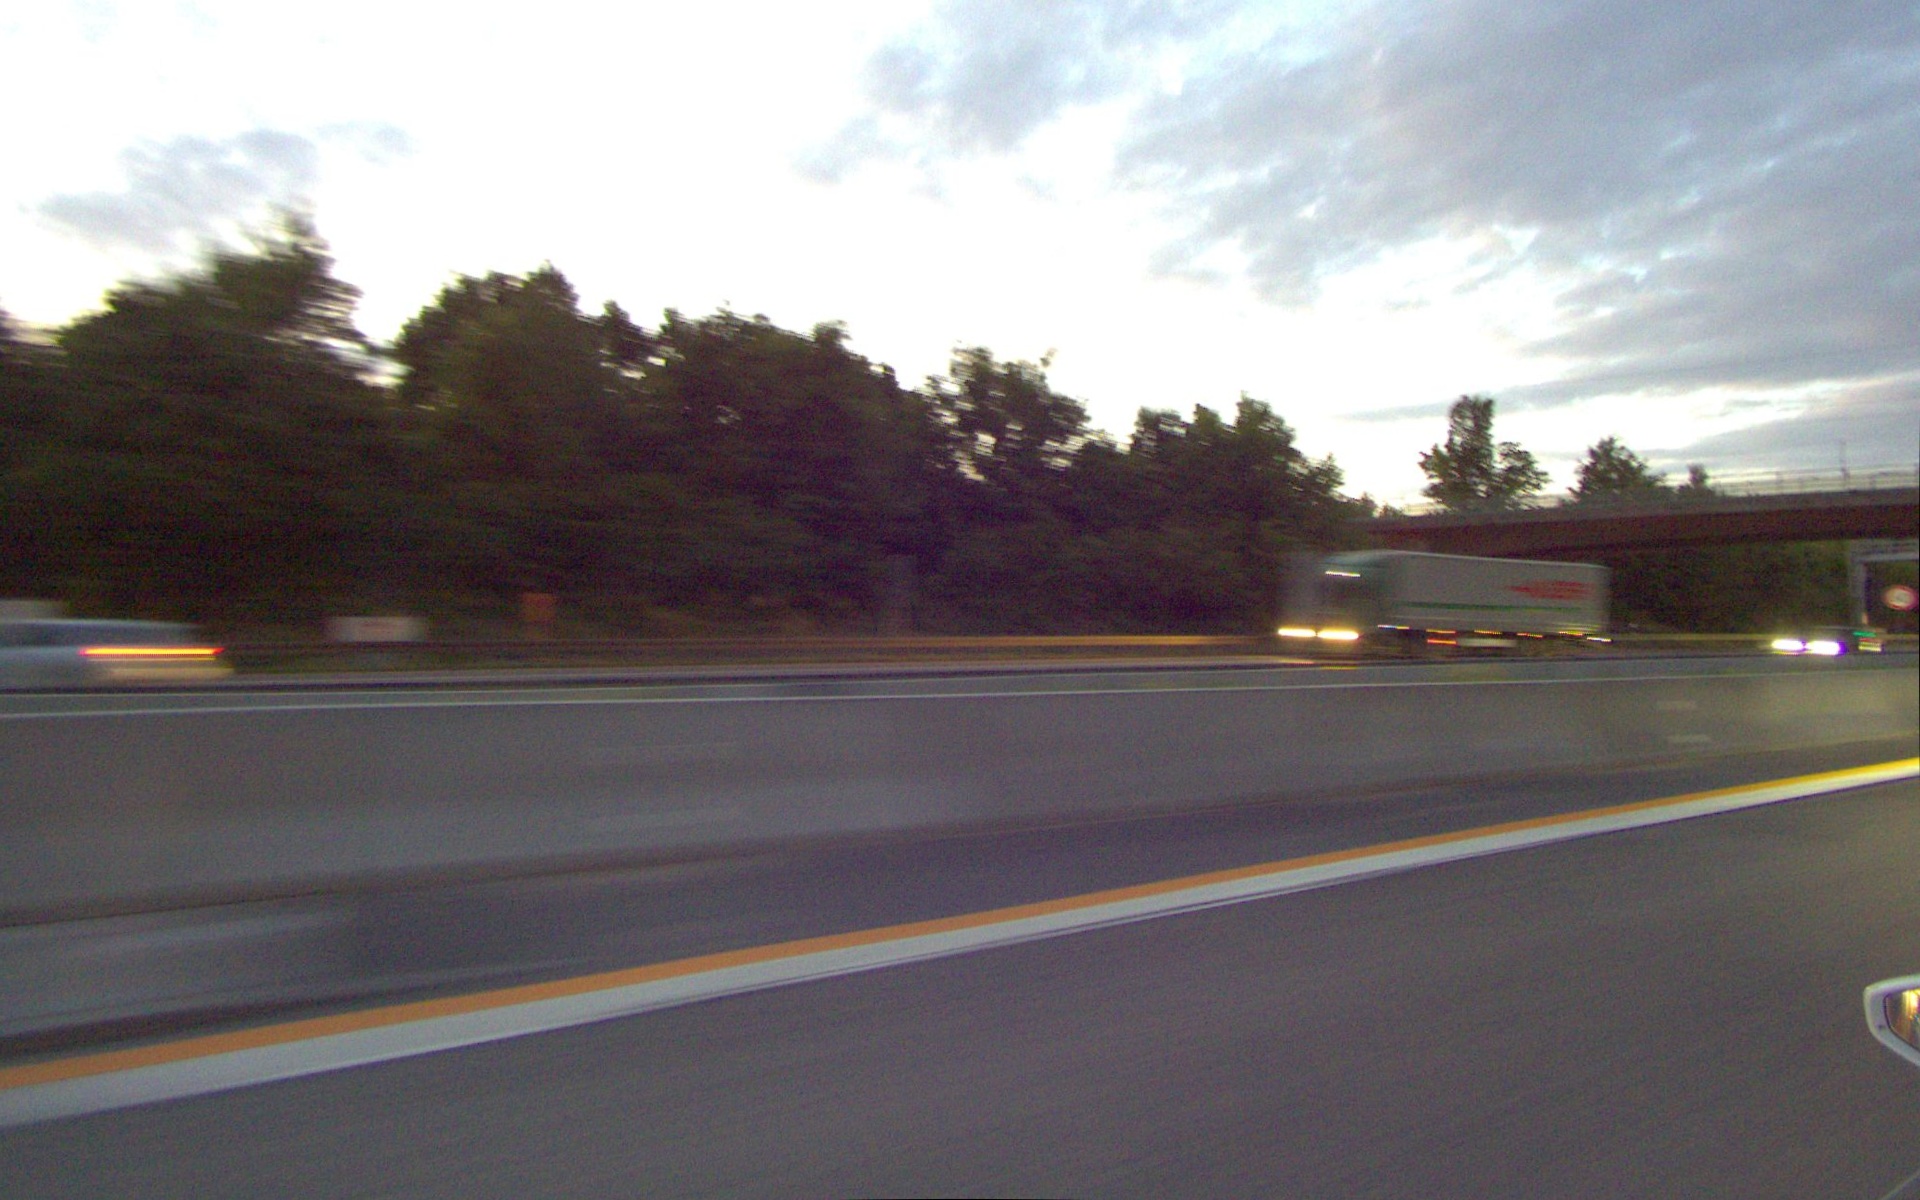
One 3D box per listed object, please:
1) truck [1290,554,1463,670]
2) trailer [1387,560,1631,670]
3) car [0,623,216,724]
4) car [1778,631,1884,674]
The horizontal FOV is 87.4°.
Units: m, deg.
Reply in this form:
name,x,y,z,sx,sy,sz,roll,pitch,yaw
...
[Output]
name,x,y,z,sx,sy,sz,roll,pitch,yaw
truck,16.224,0.502,39.081,6.305,4.227,2.766,2,0,-28
trailer,23.699,0.725,43.007,12.246,4.262,2.767,2,0,-28
car,-16.319,1.266,17.662,4.971,1.625,1.585,2,0,-28
car,37.944,2.285,43.730,4.458,1.698,1.986,2,0,-28
